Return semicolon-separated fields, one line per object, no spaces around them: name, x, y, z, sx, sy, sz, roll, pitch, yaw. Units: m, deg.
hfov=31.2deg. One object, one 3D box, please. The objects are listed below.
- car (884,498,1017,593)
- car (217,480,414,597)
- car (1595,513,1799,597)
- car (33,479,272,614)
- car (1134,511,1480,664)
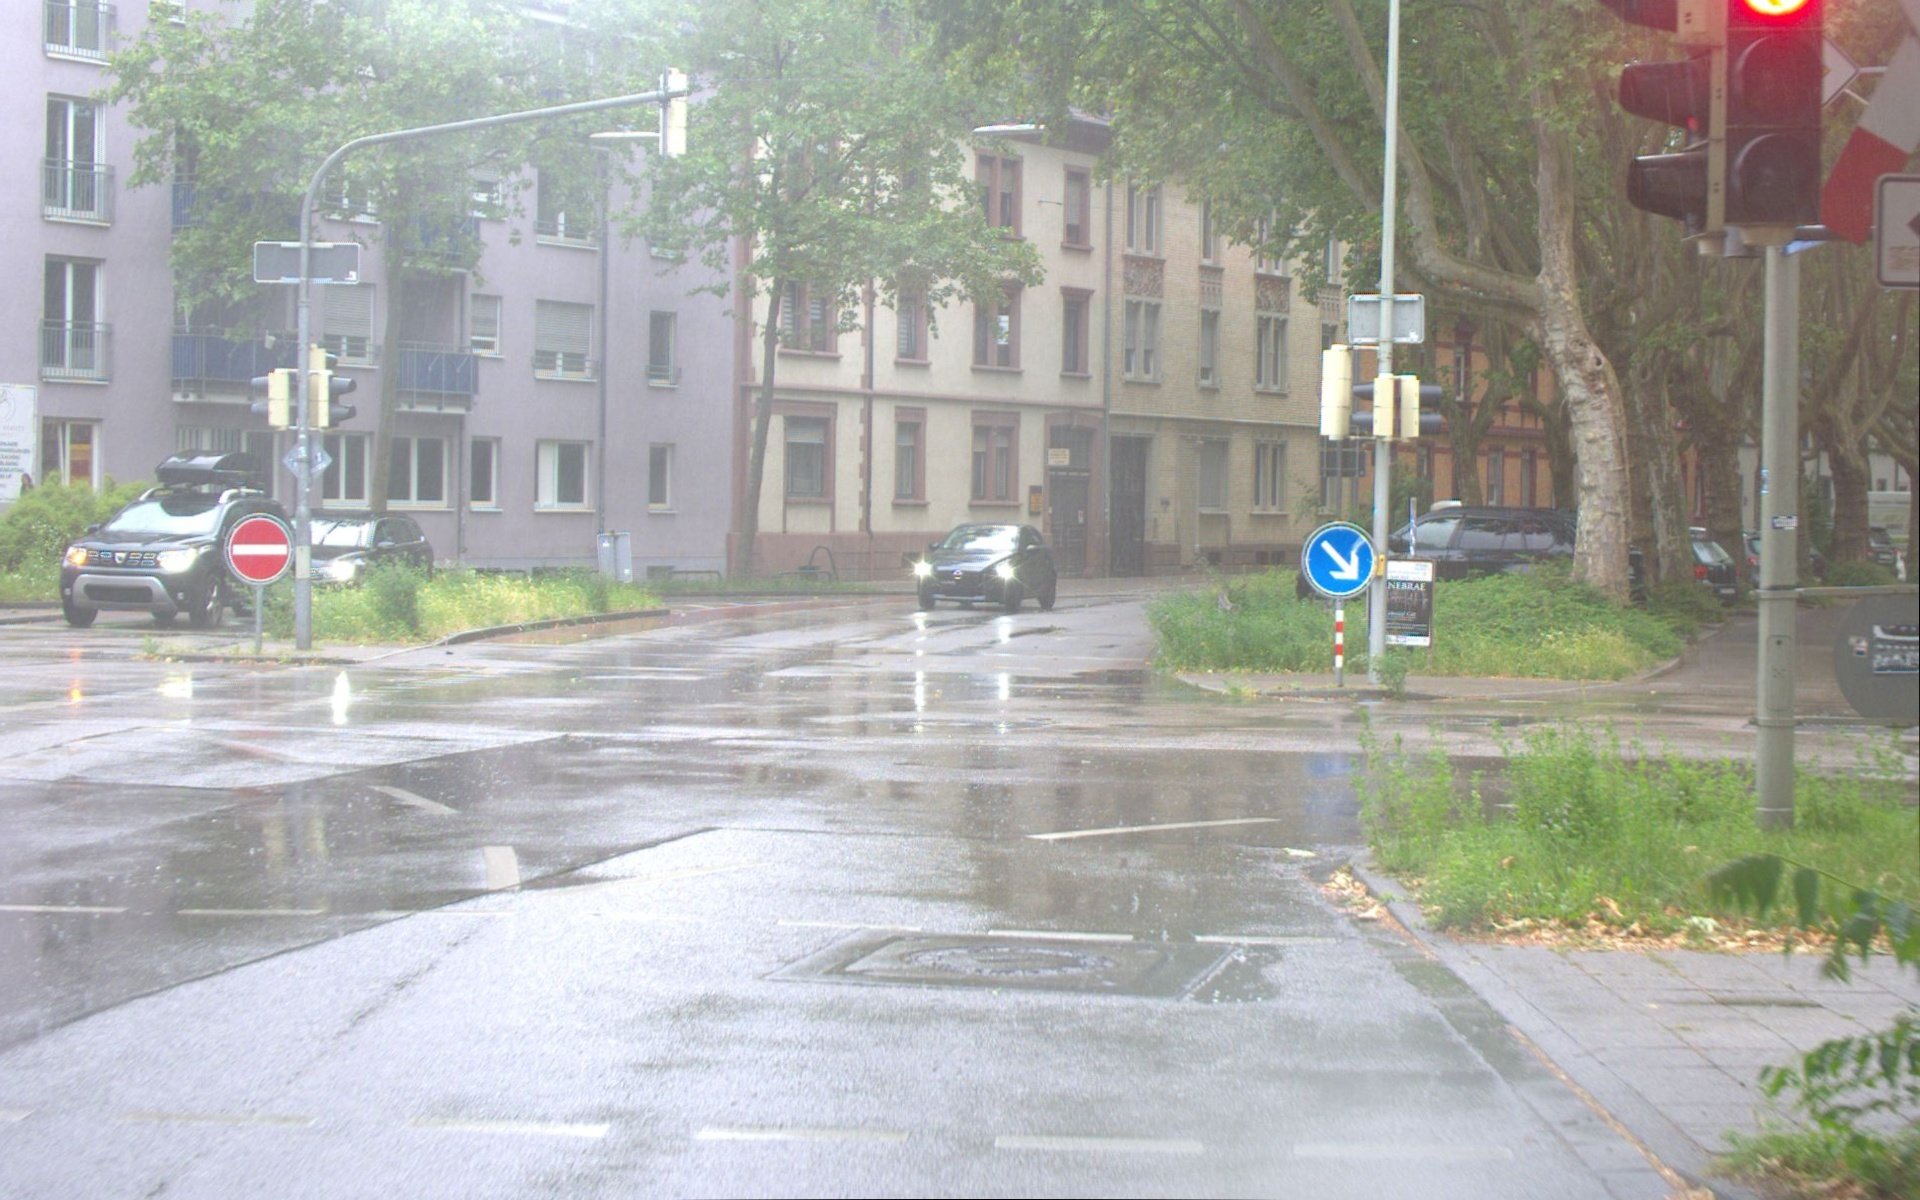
car;-0.131;-0.961;58.906;1.603;1.547;3.558;0;2;11
car;-8.893;-0.880;47.711;1.725;1.547;3.559;0;2;6
car;14.581;-0.902;68.017;3.612;1.612;1.679;0;2;29
car;-9.689;-0.671;41.503;1.725;1.547;3.559;0;2;6
car;3.616;-0.142;35.583;3.480;1.518;1.519;0;2;9
